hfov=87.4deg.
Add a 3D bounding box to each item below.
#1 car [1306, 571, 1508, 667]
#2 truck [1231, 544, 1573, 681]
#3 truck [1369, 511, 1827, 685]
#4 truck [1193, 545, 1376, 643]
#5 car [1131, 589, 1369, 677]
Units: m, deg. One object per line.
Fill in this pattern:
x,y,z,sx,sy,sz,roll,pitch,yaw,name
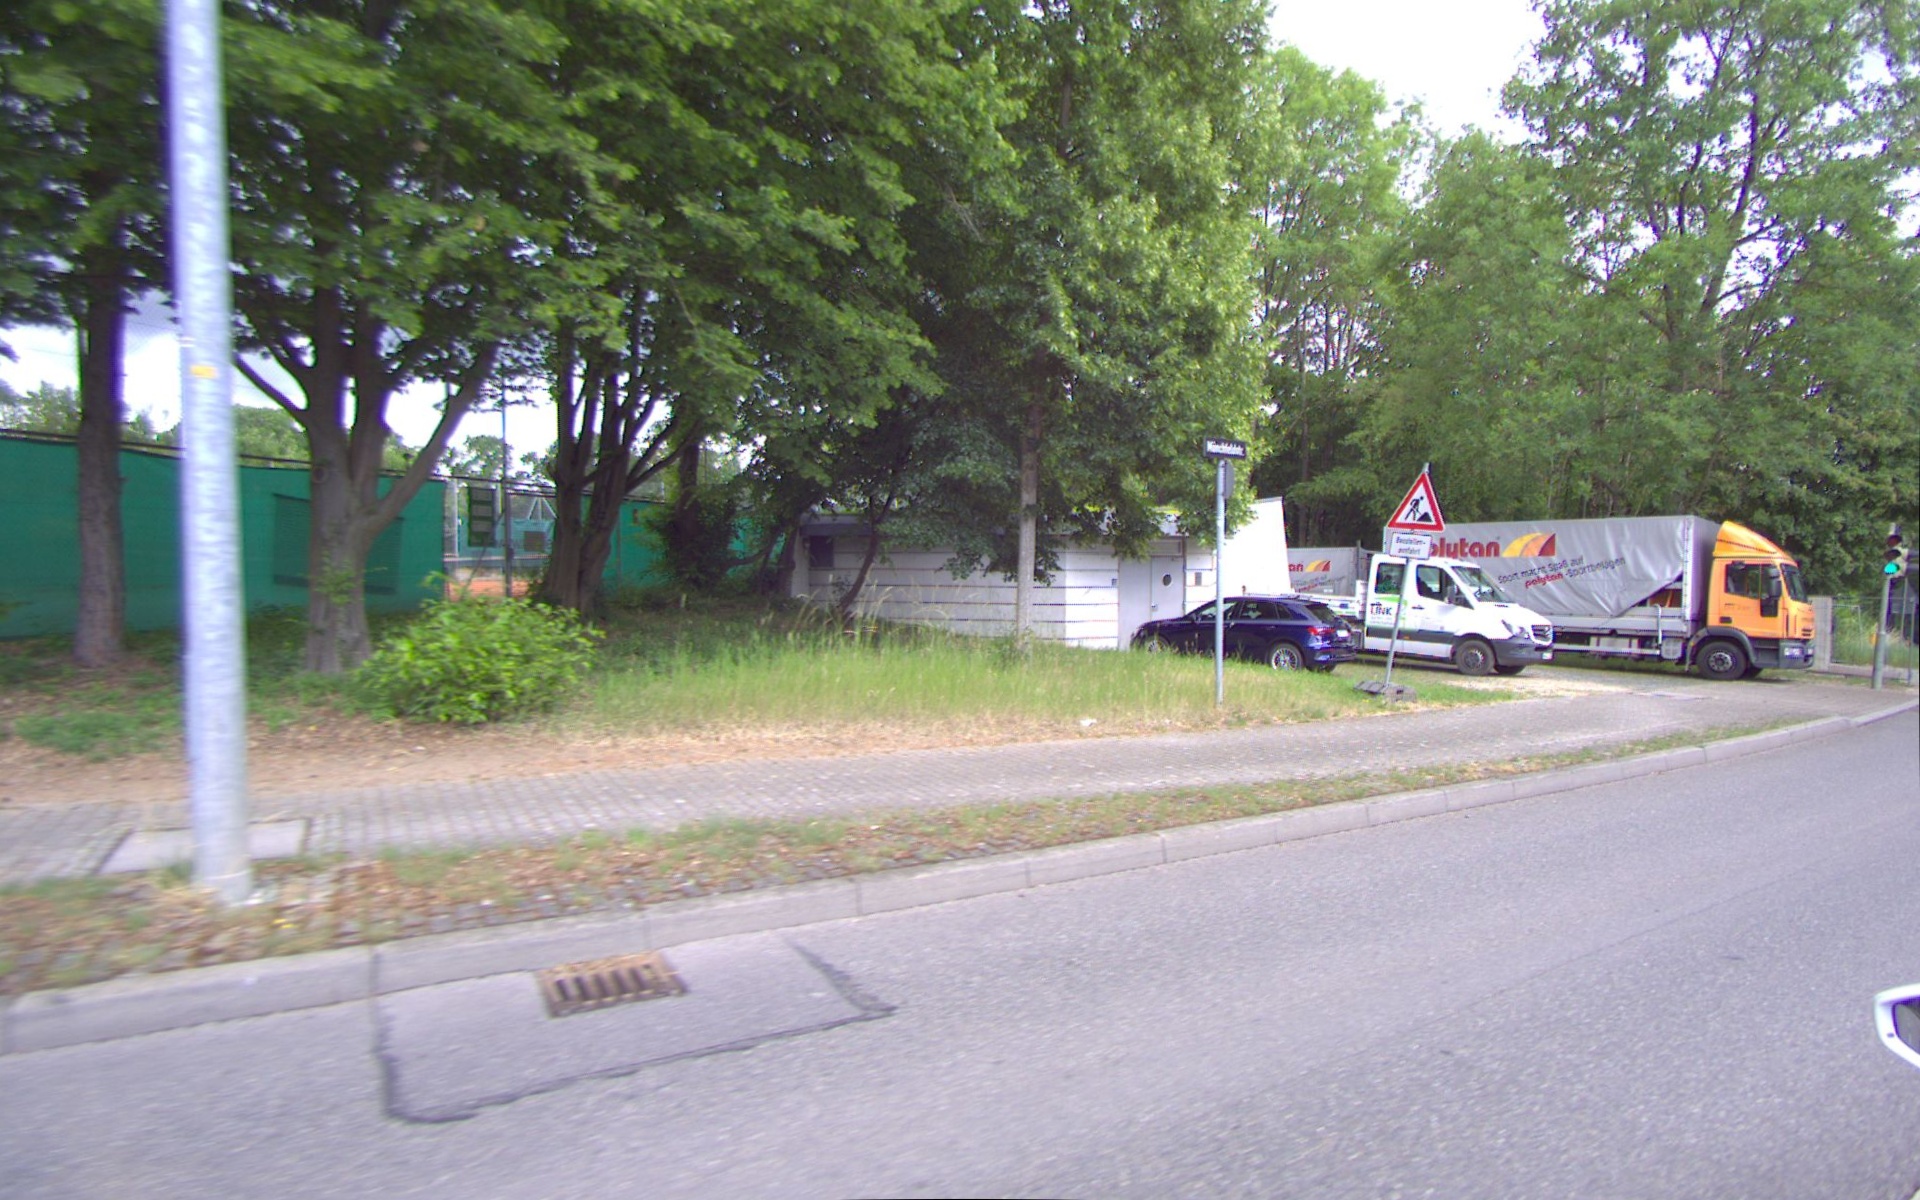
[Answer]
10.553,0.371,23.938,1.768,1.935,3.950,0,3,-42,car
9.240,0.138,21.645,2.108,2.448,6.326,2,2,-42,truck
15.220,-0.182,24.932,2.544,3.578,9.152,2,1,-40,truck
11.573,-0.290,35.992,5.814,3.243,2.447,2,2,33,truck
5.414,0.587,19.026,3.942,1.344,1.708,3,-1,42,car
